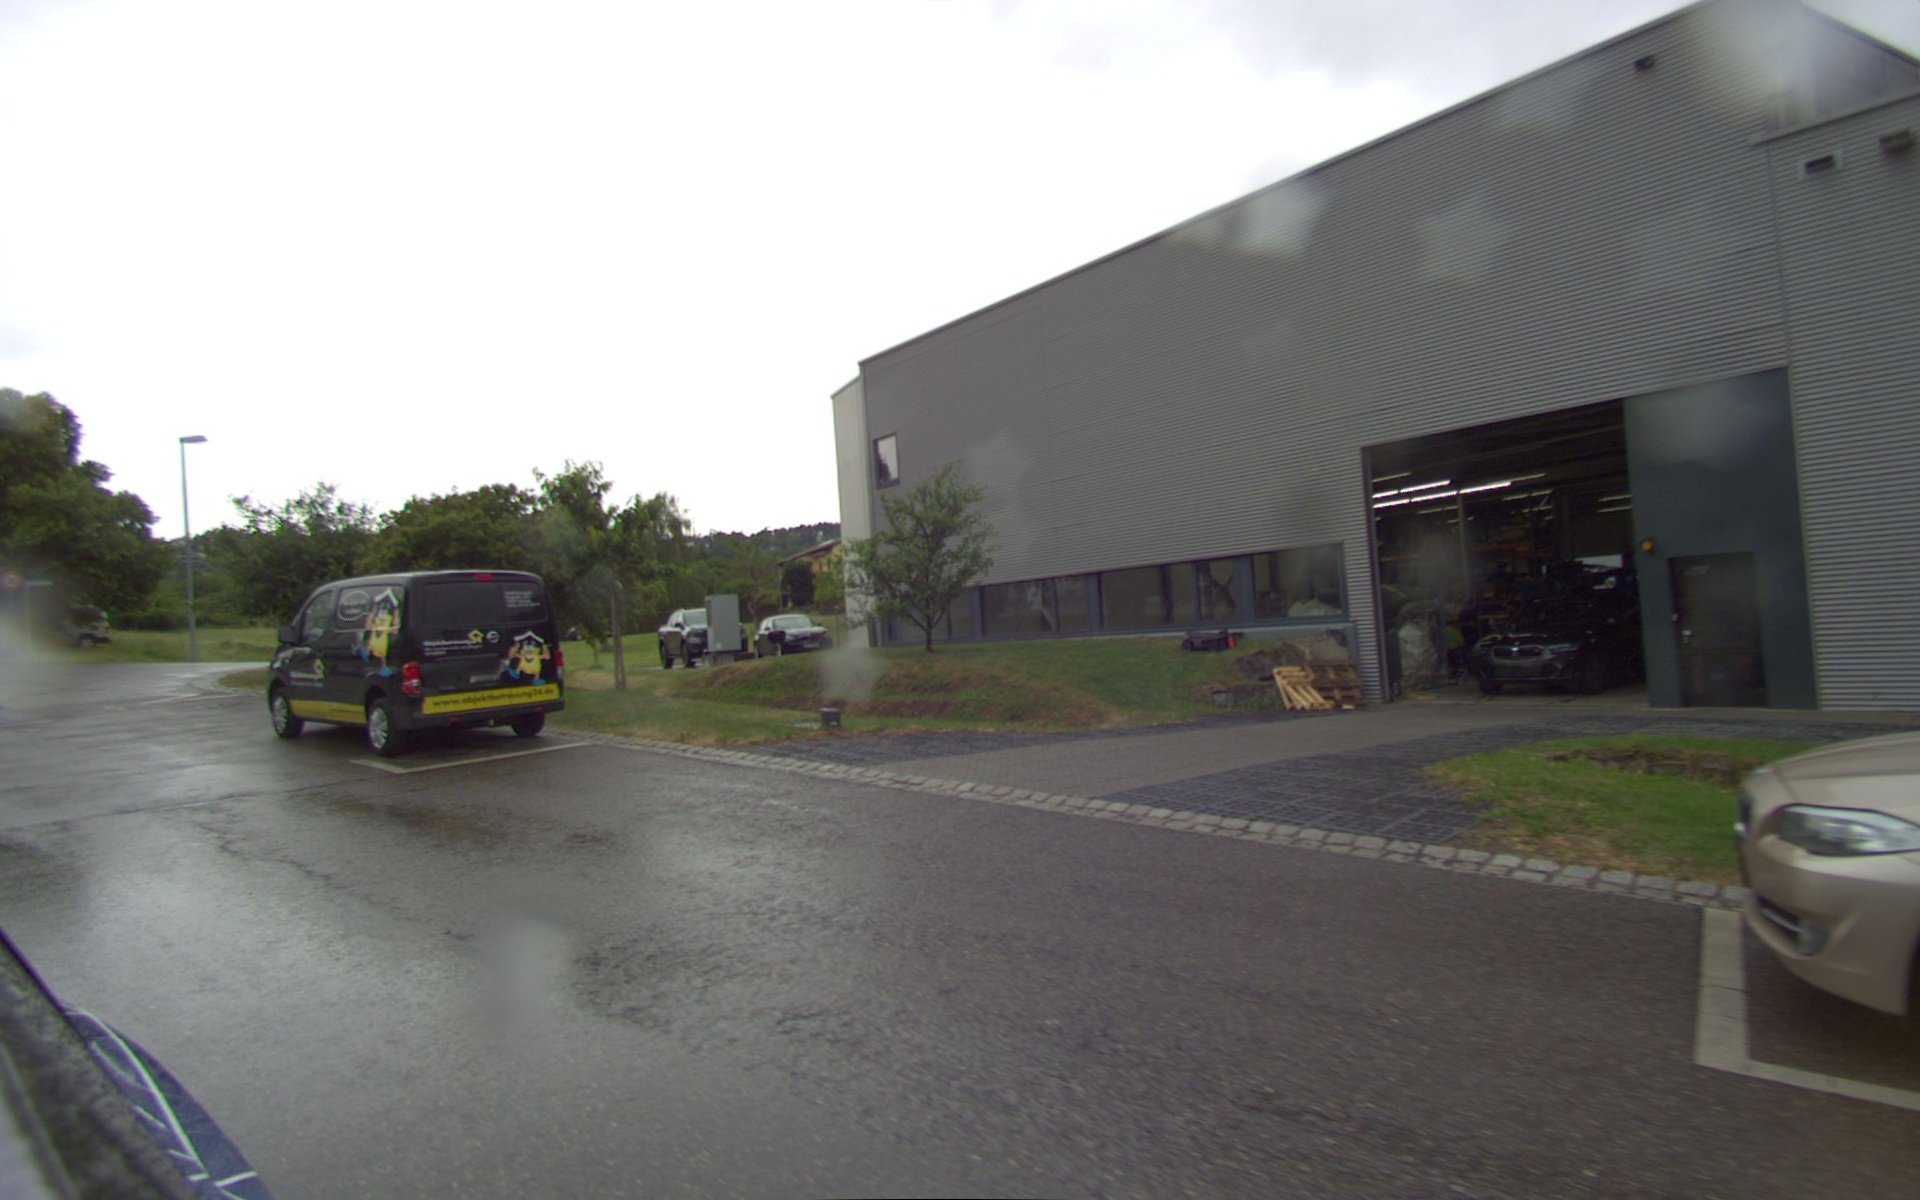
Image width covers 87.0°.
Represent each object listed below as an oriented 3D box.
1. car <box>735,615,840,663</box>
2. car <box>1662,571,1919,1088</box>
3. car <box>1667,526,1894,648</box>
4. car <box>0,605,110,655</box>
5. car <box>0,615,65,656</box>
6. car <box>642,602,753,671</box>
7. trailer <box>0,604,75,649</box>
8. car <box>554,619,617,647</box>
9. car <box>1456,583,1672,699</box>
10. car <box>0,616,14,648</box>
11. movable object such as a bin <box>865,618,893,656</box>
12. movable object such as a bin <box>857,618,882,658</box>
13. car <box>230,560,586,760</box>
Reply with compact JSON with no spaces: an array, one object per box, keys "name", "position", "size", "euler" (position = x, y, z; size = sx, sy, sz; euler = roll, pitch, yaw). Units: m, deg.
[{"name":"car","position":[-5.666,1.222,32.725],"size":[1.965,1.407,4.705],"euler":[0,-1,-28]},{"name":"car","position":[4.912,0.606,2.388],"size":[5.240,1.472,1.937],"euler":[-1,-1,38]},{"name":"car","position":[20.007,-0.348,24.629],"size":[5.609,2.619,2.127],"euler":[-3,-3,-28]},{"name":"car","position":[-37.444,1.180,41.074],"size":[1.861,1.920,4.256],"euler":[-1,0,41]},{"name":"car","position":[-41.677,1.536,43.779],"size":[1.750,1.735,4.163],"euler":[-1,0,32]},{"name":"car","position":[-8.517,1.215,32.372],"size":[2.099,1.936,5.627],"euler":[-2,-2,-28]},{"name":"trailer","position":[-43.463,1.206,46.306],"size":[1.770,1.999,4.176],"euler":[-1,0,35]},{"name":"car","position":[-29.882,2.623,80.760],"size":[4.427,2.237,1.935],"euler":[1,-2,-33]},{"name":"car","position":[10.912,0.700,18.195],"size":[4.157,1.786,1.937],"euler":[-2,-3,-40]},{"name":"car","position":[-49.995,1.722,49.929],"size":[1.802,1.601,4.578],"euler":[-1,2,35]},{"name":"movable object such as a bin","position":[-2.403,1.104,29.958],"size":[0.626,1.105,0.676],"euler":[0,-2,-26]},{"name":"movable object such as a bin","position":[-2.727,1.145,30.500],"size":[0.547,1.175,0.569],"euler":[0,-2,-26]},{"name":"car","position":[-6.460,0.574,11.592],"size":[4.843,1.845,1.896],"euler":[-1,0,39]}]
